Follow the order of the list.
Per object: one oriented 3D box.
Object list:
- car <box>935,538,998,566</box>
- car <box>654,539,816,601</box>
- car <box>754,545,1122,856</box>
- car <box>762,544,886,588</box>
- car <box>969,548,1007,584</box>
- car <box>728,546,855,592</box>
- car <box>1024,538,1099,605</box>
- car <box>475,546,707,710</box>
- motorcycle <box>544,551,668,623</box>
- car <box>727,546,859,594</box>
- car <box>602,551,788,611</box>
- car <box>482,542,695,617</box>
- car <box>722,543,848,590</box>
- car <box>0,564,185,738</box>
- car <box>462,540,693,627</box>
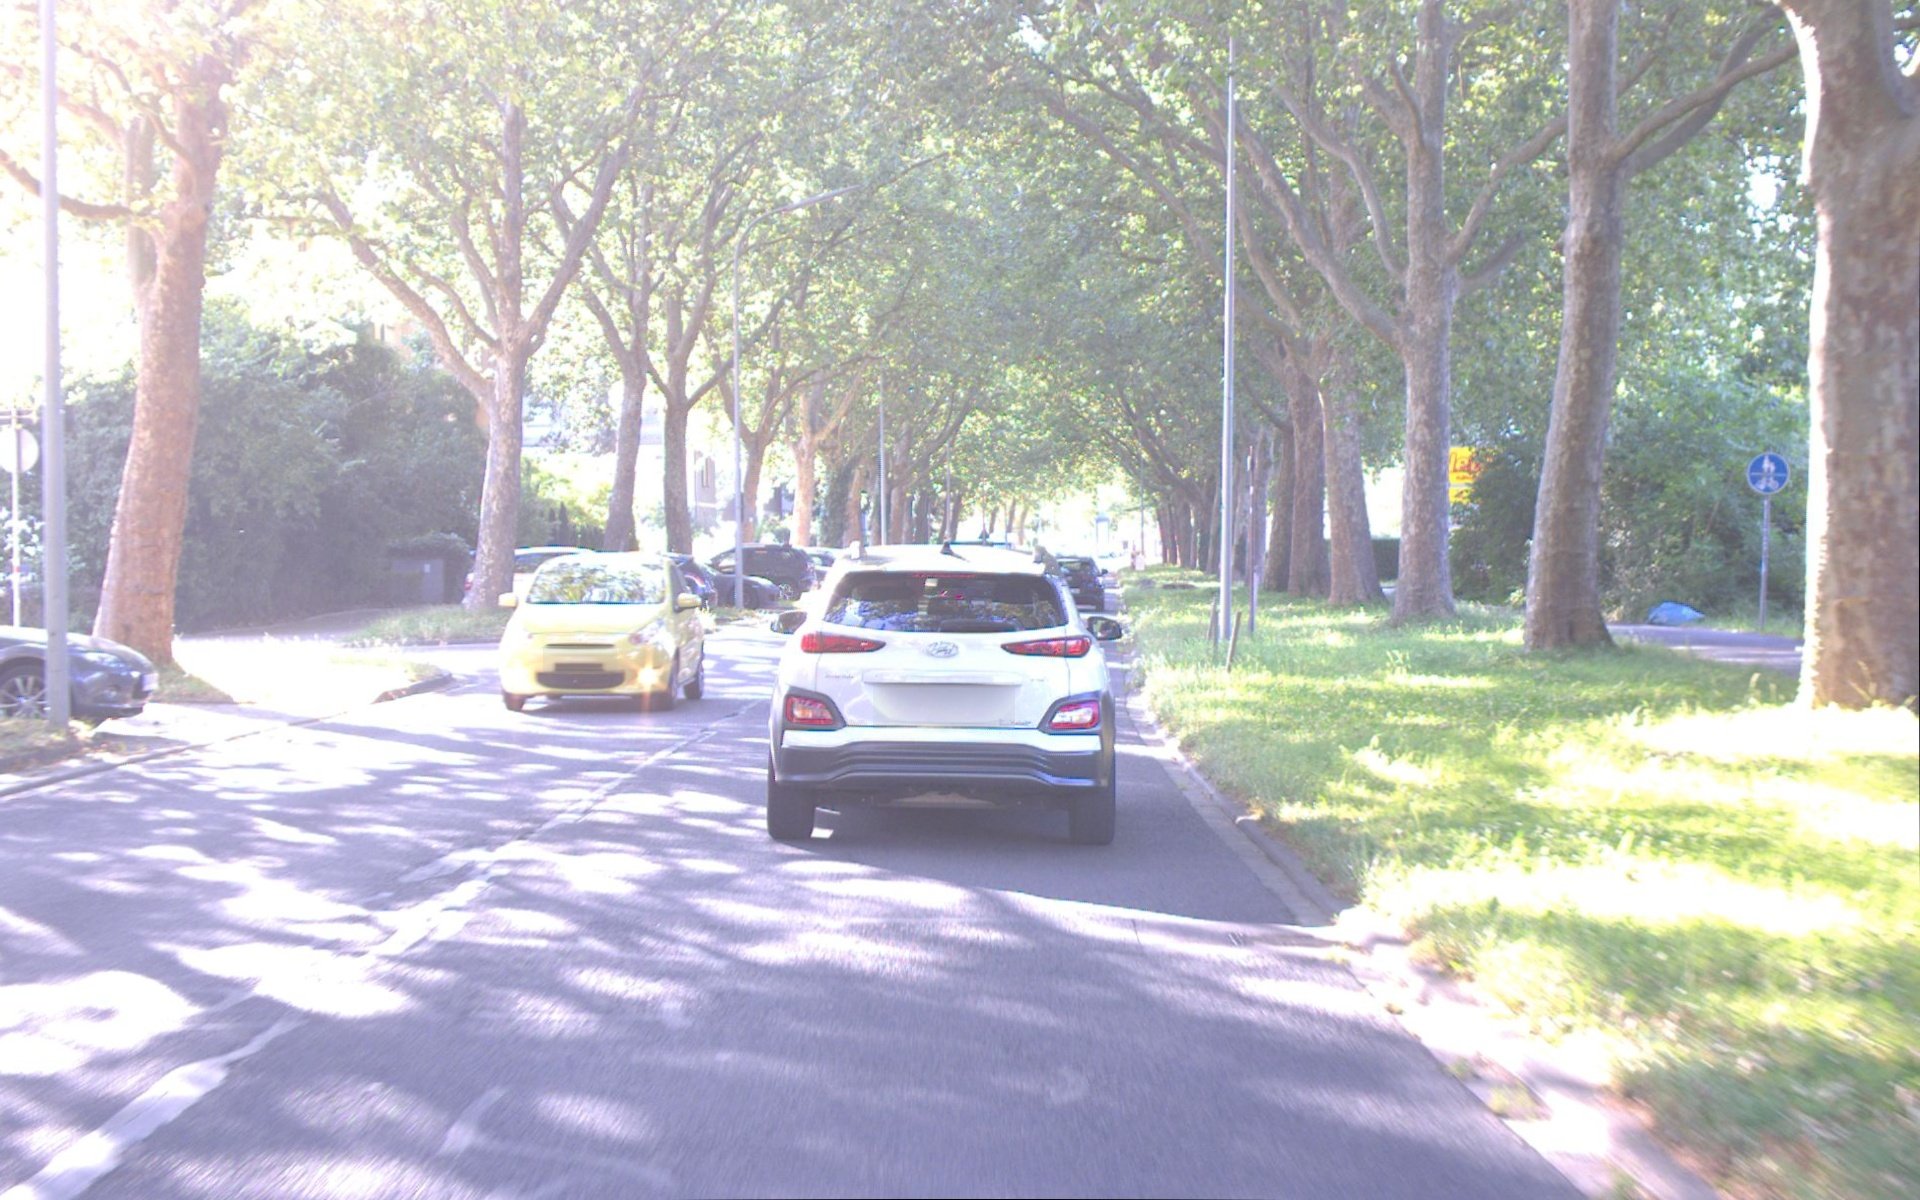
[{"bbox_3d":[0.422,-3.105,221.440,3.986,1.766,2.000,1,0,-2],"label":"car"},{"bbox_3d":[-6.123,-0.835,93.769,4.244,1.674,1.671,0,1,3],"label":"car"},{"bbox_3d":[-0.188,0.474,19.210,1.835,1.550,4.001,0,1,-2],"label":"car"},{"bbox_3d":[-4.544,-1.148,115.041,3.987,1.465,1.809,0,1,4],"label":"car"},{"bbox_3d":[1.127,-1.396,140.441,1.535,1.454,3.185,0,1,0],"label":"car"},{"bbox_3d":[-5.343,-0.993,109.563,3.986,1.419,1.809,0,1,-1],"label":"car"},{"bbox_3d":[2.622,-0.755,89.159,1.676,1.690,3.745,0,1,-2],"label":"car"},{"bbox_3d":[-3.558,0.234,33.732,1.784,1.507,3.838,0,1,1],"label":"car"},{"bbox_3d":[-6.922,-0.256,67.234,2.385,1.383,0.648,0,1,-3],"label":"motorcycle"},{"bbox_3d":[-5.217,-0.945,107.524,3.987,1.465,1.780,0,1,2],"label":"car"},{"bbox_3d":[-6.282,-0.456,81.776,4.240,1.348,1.741,-1,1,1],"label":"car"},{"bbox_3d":[-7.552,-0.423,70.132,4.160,1.501,1.802,0,1,-1],"label":"car"},{"bbox_3d":[-5.720,-1.113,112.662,3.987,1.515,1.809,0,1,2],"label":"car"},{"bbox_3d":[-8.355,0.355,27.612,3.825,1.312,1.790,2,1,0],"label":"car"},{"bbox_3d":[-7.206,-0.317,65.101,4.183,1.579,2.000,0,1,-2],"label":"car"}]
